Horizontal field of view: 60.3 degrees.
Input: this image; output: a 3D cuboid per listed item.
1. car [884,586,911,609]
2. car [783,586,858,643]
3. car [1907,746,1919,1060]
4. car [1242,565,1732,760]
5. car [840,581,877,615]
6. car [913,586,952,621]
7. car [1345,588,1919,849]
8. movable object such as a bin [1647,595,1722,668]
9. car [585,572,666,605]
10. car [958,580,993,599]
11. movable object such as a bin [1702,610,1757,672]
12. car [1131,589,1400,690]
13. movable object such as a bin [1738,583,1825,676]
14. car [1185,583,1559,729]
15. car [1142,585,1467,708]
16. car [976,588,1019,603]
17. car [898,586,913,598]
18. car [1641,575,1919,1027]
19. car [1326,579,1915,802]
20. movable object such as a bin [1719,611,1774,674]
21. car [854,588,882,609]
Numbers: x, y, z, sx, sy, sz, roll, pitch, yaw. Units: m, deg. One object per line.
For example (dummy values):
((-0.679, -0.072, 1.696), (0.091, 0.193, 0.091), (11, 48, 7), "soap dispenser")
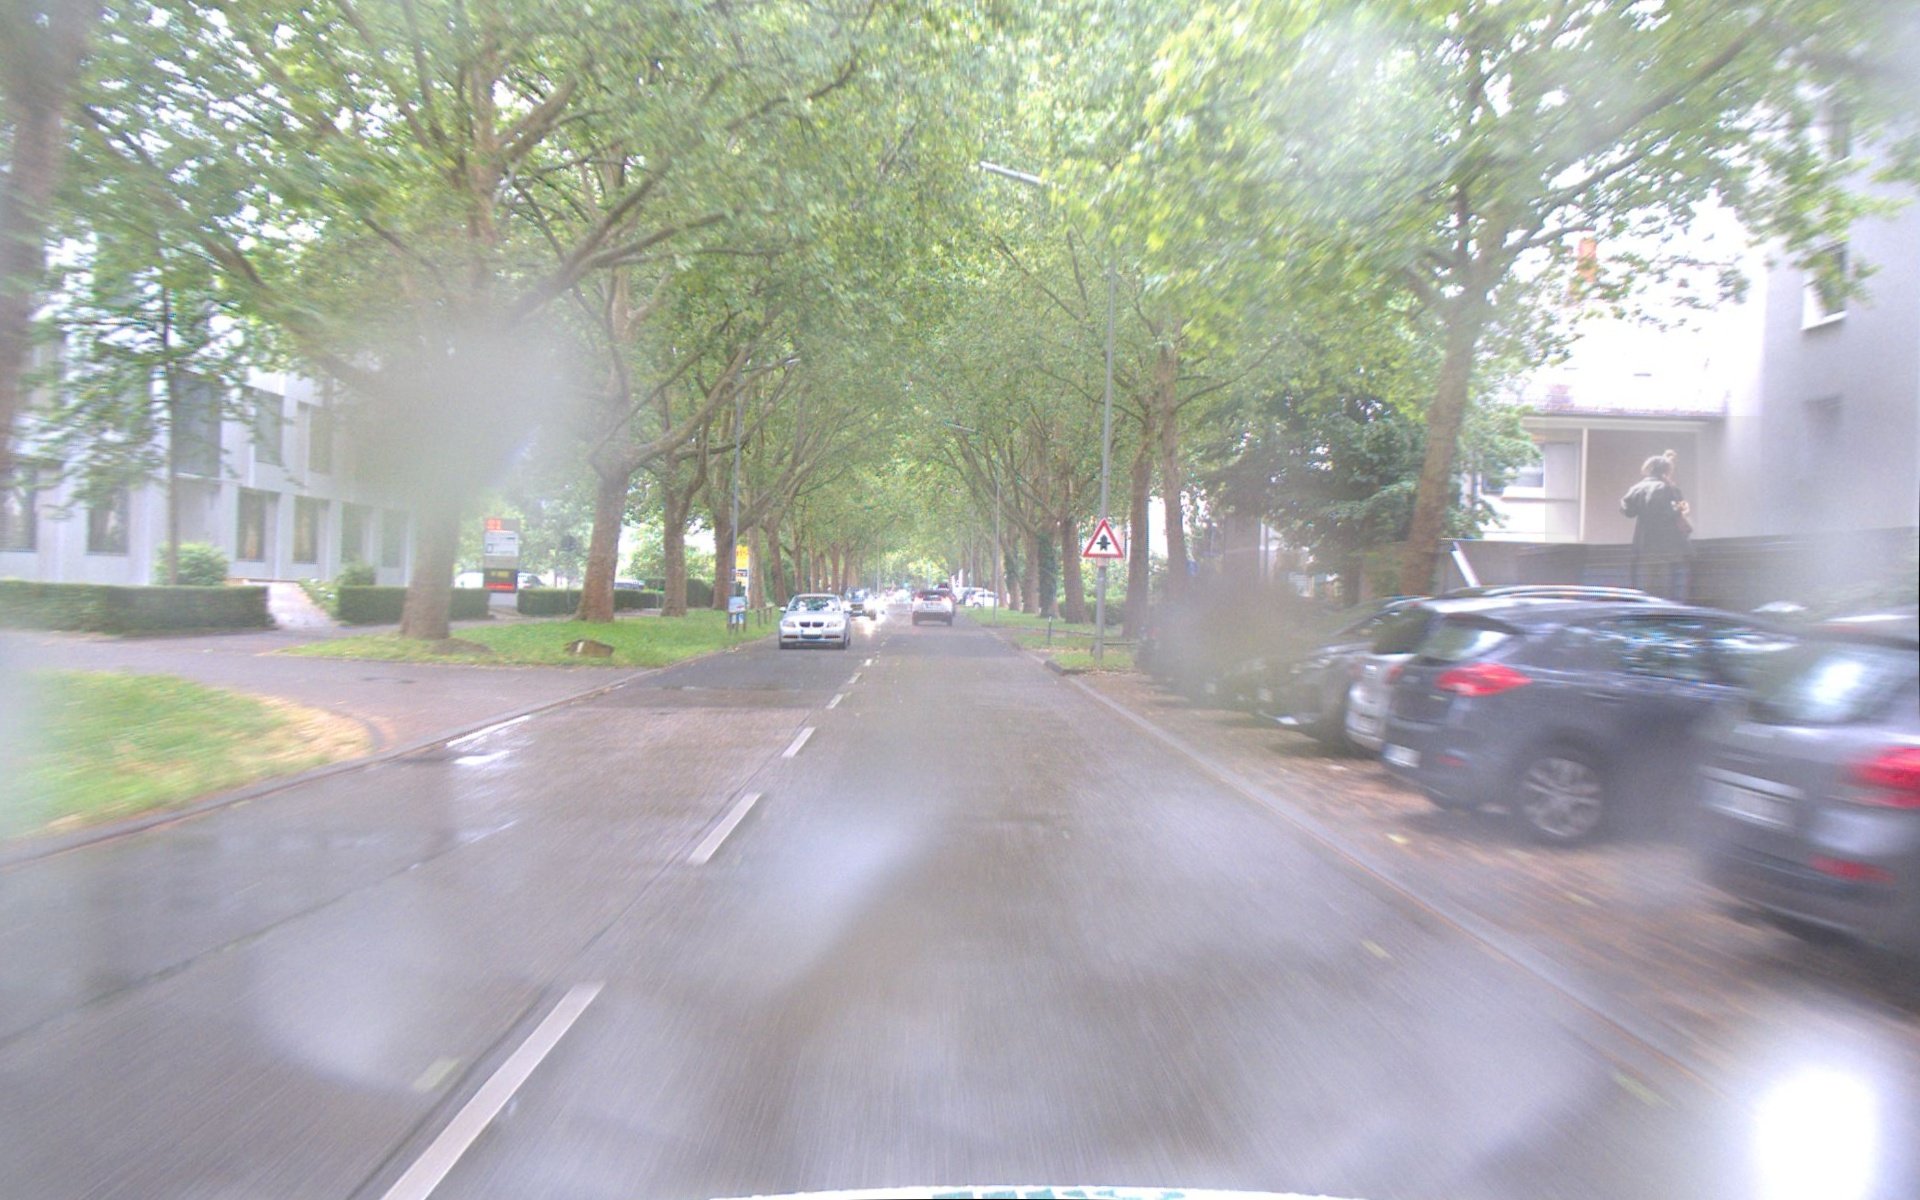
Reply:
((-4.115, -0.194, 109.718), (1.671, 1.436, 3.644), (-1, 1, -1), "car")
((-3.693, 0.346, 44.381), (1.644, 1.413, 4.549), (0, 1, -1), "car")
((5.176, 0.647, 4.384), (4.250, 1.792, 1.818), (2, 1, -1), "car")
((5.000, 0.563, 16.116), (4.125, 1.684, 1.913), (2, 1, -2), "car")
((-5.279, -0.119, 86.251), (1.773, 1.713, 4.447), (0, 1, -2), "car")
((-1.214, 0.131, 72.422), (1.671, 1.436, 3.644), (-1, 1, -1), "car")
((4.699, 0.693, 10.750), (3.955, 1.466, 1.684), (-1, 1, -4), "car")
((13.721, 0.578, 31.338), (0.884, 1.333, 1.173), (1, 1, -1), "movable object such as a bin")
((-18.112, -0.635, 89.685), (3.906, 1.651, 2.000), (1, 0, -1), "car")
((1.584, -1.069, 167.202), (3.476, 1.873, 1.711), (-1, 1, -3), "car")
((13.807, 0.731, 29.690), (0.673, 1.085, 0.622), (1, 1, -1), "movable object such as a bin")
((4.735, 0.602, 25.998), (3.906, 1.463, 1.679), (1, 1, -1), "car")
((13.461, 0.468, 27.116), (0.846, 1.463, 1.114), (1, 1, -1), "movable object such as a bin")
((4.823, 0.633, 19.712), (3.961, 1.557, 1.779), (2, 1, -4), "car")
((4.597, 0.600, 22.498), (4.017, 1.540, 1.864), (1, 1, -1), "car")
((3.165, -0.369, 139.321), (3.477, 1.175, 1.710), (-1, 1, -4), "car")
((-6.740, -0.987, 203.972), (1.685, 1.276, 4.000), (2, 1, 0), "car")
((5.029, 0.763, 6.603), (3.906, 1.564, 1.631), (2, 1, -1), "car")
((5.298, 0.693, 13.592), (4.126, 1.611, 1.746), (2, 1, -4), "car")
((13.805, 0.738, 29.052), (0.646, 1.085, 0.622), (1, 1, -1), "movable object such as a bin")
((-5.949, -0.122, 106.884), (1.671, 1.272, 3.644), (-1, 1, -1), "car")
